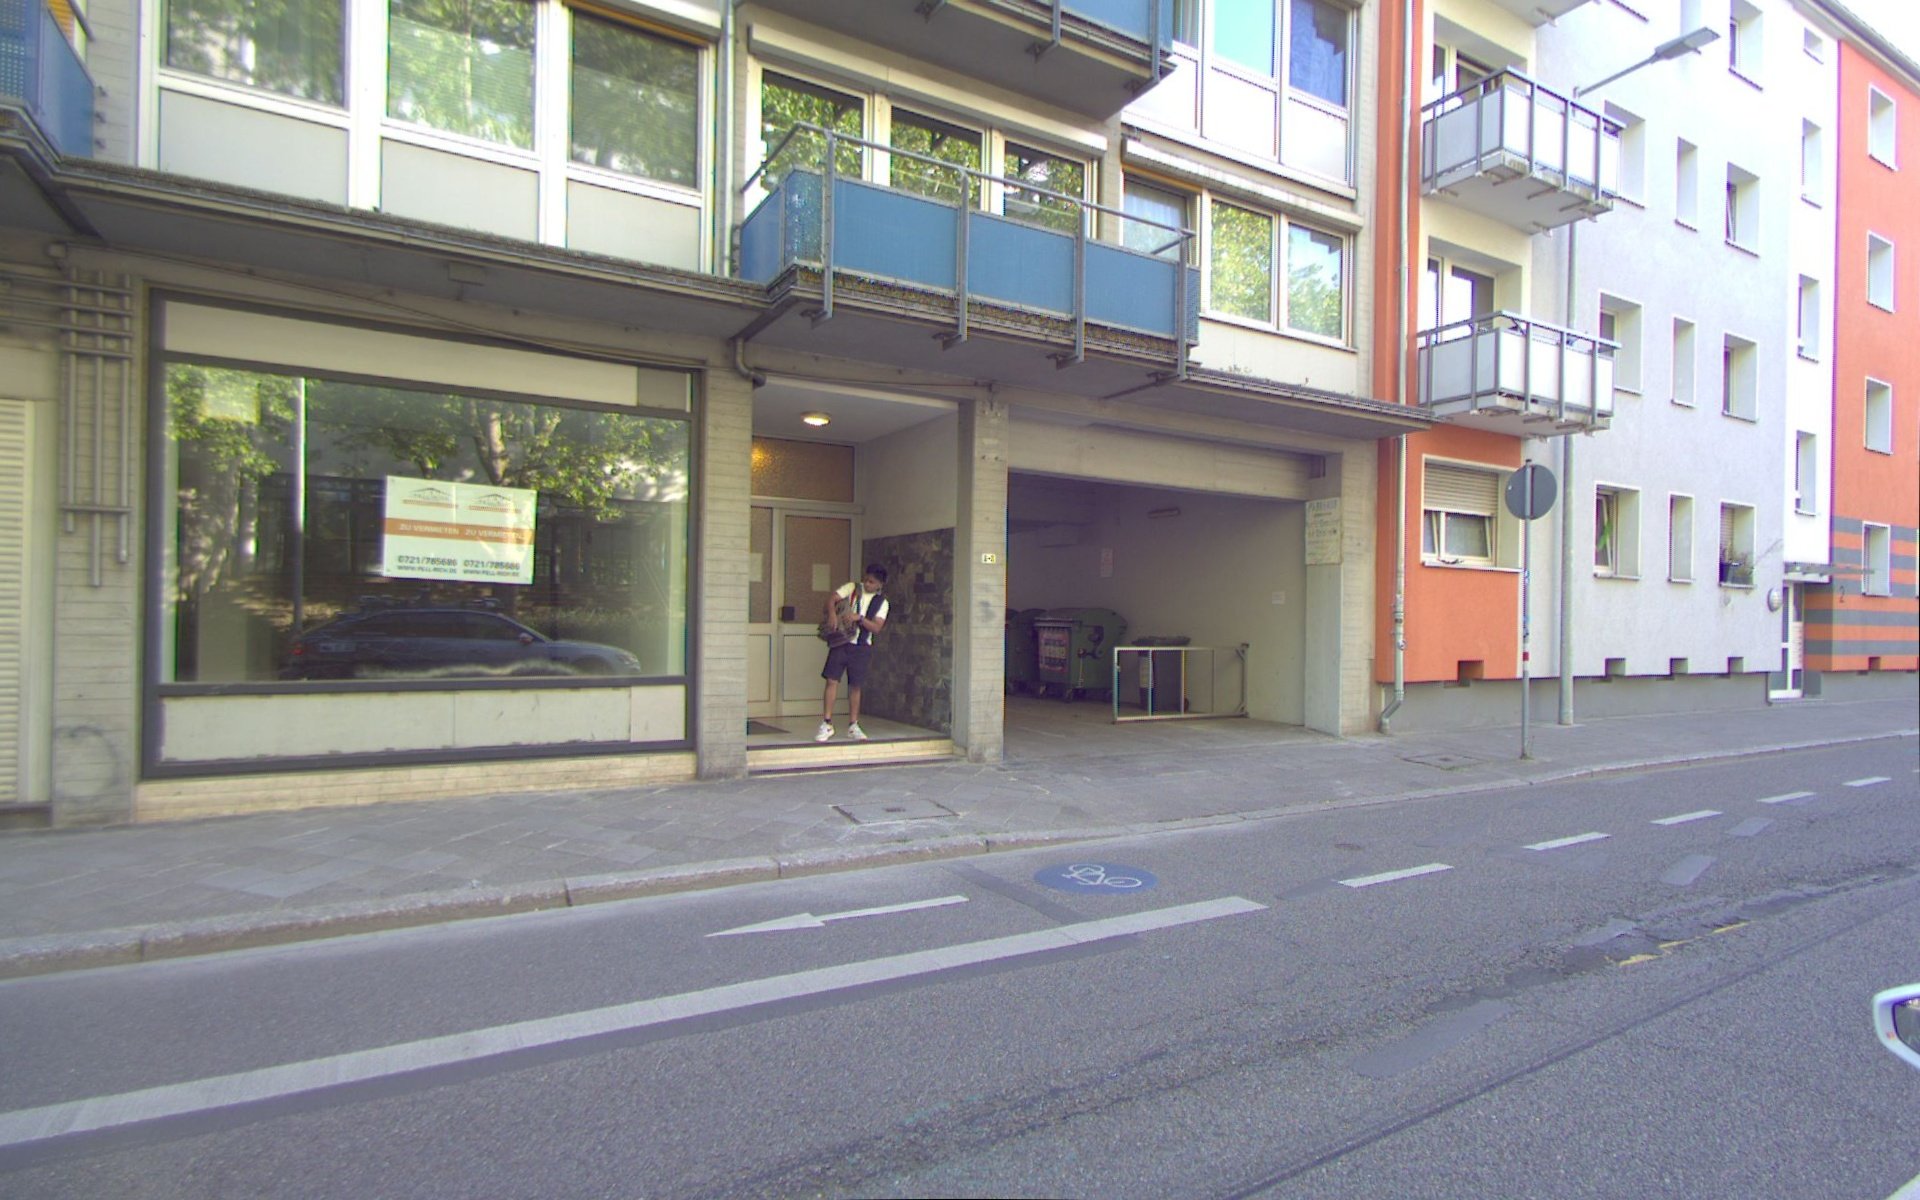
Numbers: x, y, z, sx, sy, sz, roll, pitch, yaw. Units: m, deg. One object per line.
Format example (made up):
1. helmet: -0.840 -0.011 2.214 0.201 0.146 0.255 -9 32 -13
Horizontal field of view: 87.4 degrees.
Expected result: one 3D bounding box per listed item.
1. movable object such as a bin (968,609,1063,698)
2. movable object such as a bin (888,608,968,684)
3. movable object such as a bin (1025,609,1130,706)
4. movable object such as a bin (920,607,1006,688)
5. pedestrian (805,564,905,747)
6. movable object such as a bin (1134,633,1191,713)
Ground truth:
1. movable object such as a bin: 0.935 0.880 17.163 1.067 1.433 1.312 1 -1 -30
2. movable object such as a bin: -0.645 0.881 19.822 1.067 1.433 1.312 1 -1 -30
3. movable object such as a bin: 1.829 0.867 15.781 1.067 1.433 1.312 1 -1 -30
4. movable object such as a bin: 0.046 0.859 18.620 1.067 1.433 1.312 1 -1 -30
5. pedestrian: -0.961 0.490 9.190 0.747 1.600 0.511 1 0 -30
6. movable object such as a bin: 2.909 1.033 14.436 0.646 1.102 0.487 1 0 -30
